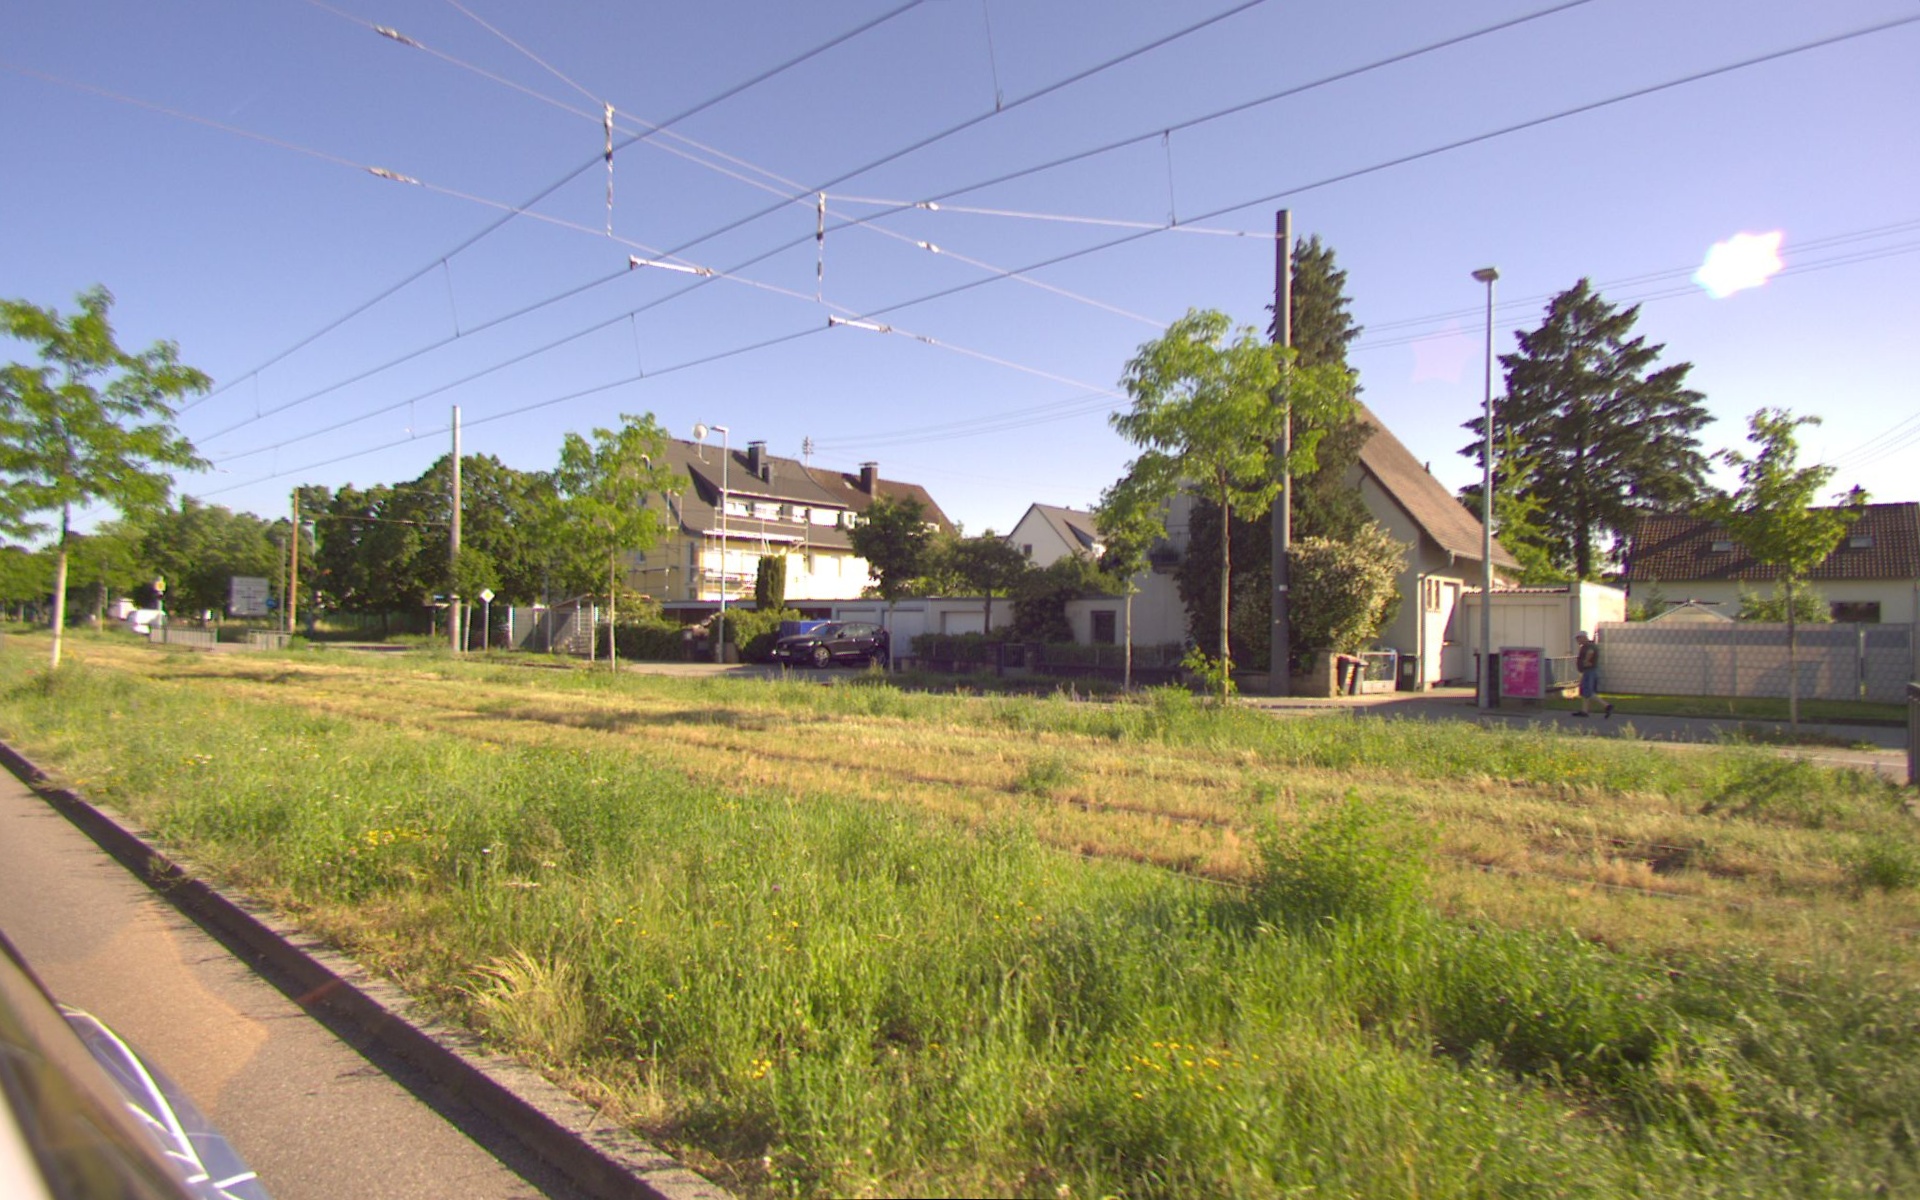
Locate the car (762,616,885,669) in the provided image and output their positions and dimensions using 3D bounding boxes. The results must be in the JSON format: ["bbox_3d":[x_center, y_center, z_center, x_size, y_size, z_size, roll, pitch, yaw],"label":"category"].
[{"bbox_3d":[-4.744,1.481,35.825,2.044,1.748,4.509,0,-2,29],"label":"car"}]

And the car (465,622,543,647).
[{"bbox_3d":[-28.251,2.170,62.759,1.852,1.414,3.947,2,0,40],"label":"car"}]

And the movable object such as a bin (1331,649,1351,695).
[{"bbox_3d":[8.559,1.612,22.736,0.350,0.977,0.323,0,0,37],"label":"movable object such as a bin"}]

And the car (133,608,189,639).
[{"bbox_3d":[-51.431,1.509,65.095,4.698,1.929,1.878,-1,-2,40],"label":"car"}]

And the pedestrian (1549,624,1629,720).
[{"bbox_3d":[11.265,1.257,18.119,1.085,1.653,0.955,-1,-2,41],"label":"pedestrian"}]

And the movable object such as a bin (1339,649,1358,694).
[{"bbox_3d":[8.811,1.620,22.950,0.333,0.973,0.295,0,0,37],"label":"movable object such as a bin"}]

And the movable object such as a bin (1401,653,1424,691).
[{"bbox_3d":[11.424,1.815,25.557,0.451,0.904,0.367,0,0,37],"label":"movable object such as a bin"}]

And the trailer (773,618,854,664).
[{"bbox_3d":[-5.500,1.533,38.227,1.397,1.660,2.885,0,-2,38],"label":"trailer"}]

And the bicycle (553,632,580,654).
[{"bbox_3d":[-17.965,1.947,46.183,1.748,0.949,0.419,0,0,41],"label":"bicycle"}]
